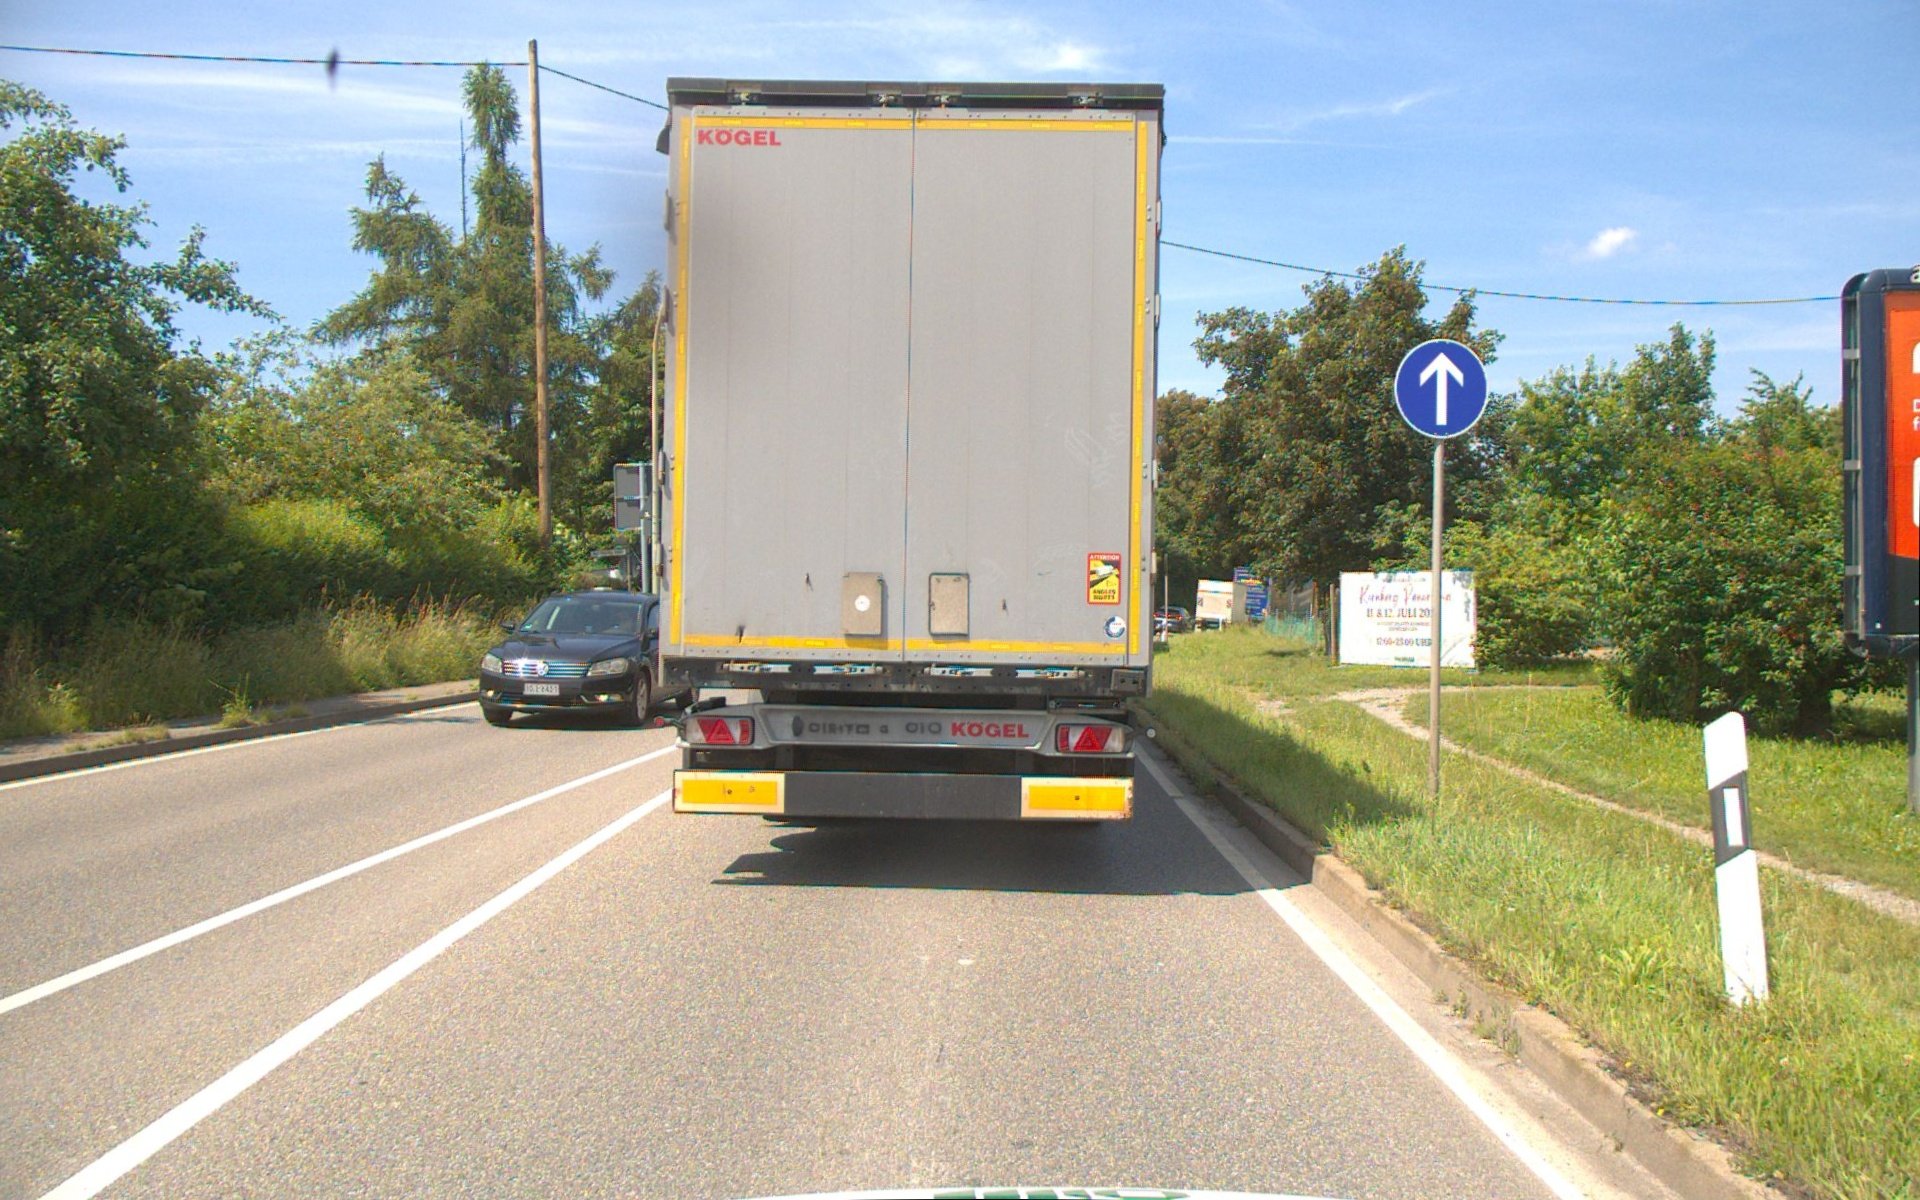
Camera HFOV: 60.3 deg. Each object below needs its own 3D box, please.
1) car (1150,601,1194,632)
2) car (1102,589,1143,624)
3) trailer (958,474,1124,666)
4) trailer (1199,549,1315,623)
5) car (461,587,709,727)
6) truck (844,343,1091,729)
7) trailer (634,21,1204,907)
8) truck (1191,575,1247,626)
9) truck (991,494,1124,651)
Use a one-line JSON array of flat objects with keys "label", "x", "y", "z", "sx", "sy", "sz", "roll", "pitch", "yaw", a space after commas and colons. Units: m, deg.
[{"label": "car", "x": 11.024, "y": 0.860, "z": 85.828, "sx": 1.802, "sy": 1.512, "sz": 4.003, "roll": 0, "pitch": 1, "yaw": 15}, {"label": "car", "x": 9.108, "y": 0.351, "z": 92.656, "sx": 1.951, "sy": 1.870, "sz": 4.004, "roll": 1, "pitch": 1, "yaw": 10}, {"label": "trailer", "x": 2.558, "y": -0.728, "z": 46.164, "sx": 3.808, "sy": 4.600, "sz": 12.722, "roll": 0, "pitch": 0, "yaw": 6}, {"label": "trailer", "x": 20.579, "y": -1.001, "z": 113.389, "sx": 5.072, "sy": 4.709, "sz": 15.898, "roll": 1, "pitch": 1, "yaw": 20}, {"label": "car", "x": -4.264, "y": 0.602, "z": 19.565, "sx": 1.777, "sy": 1.442, "sz": 4.615, "roll": 0, "pitch": 0, "yaw": 1}, {"label": "truck", "x": 0.284, "y": -0.752, "z": 21.340, "sx": 2.688, "sy": 4.238, "sz": 6.146, "roll": 1, "pitch": 1, "yaw": 4}, {"label": "trailer", "x": -0.029, "y": -0.742, "z": 14.093, "sx": 2.729, "sy": 4.278, "sz": 12.114, "roll": 1, "pitch": 1, "yaw": 2}, {"label": "truck", "x": 15.256, "y": -0.012, "z": 97.173, "sx": 2.370, "sy": 2.888, "sz": 5.415, "roll": 1, "pitch": 1, "yaw": 18}, {"label": "truck", "x": 3.260, "y": -0.825, "z": 52.882, "sx": 3.853, "sy": 4.655, "sz": 7.157, "roll": 0, "pitch": 0, "yaw": 6}]
